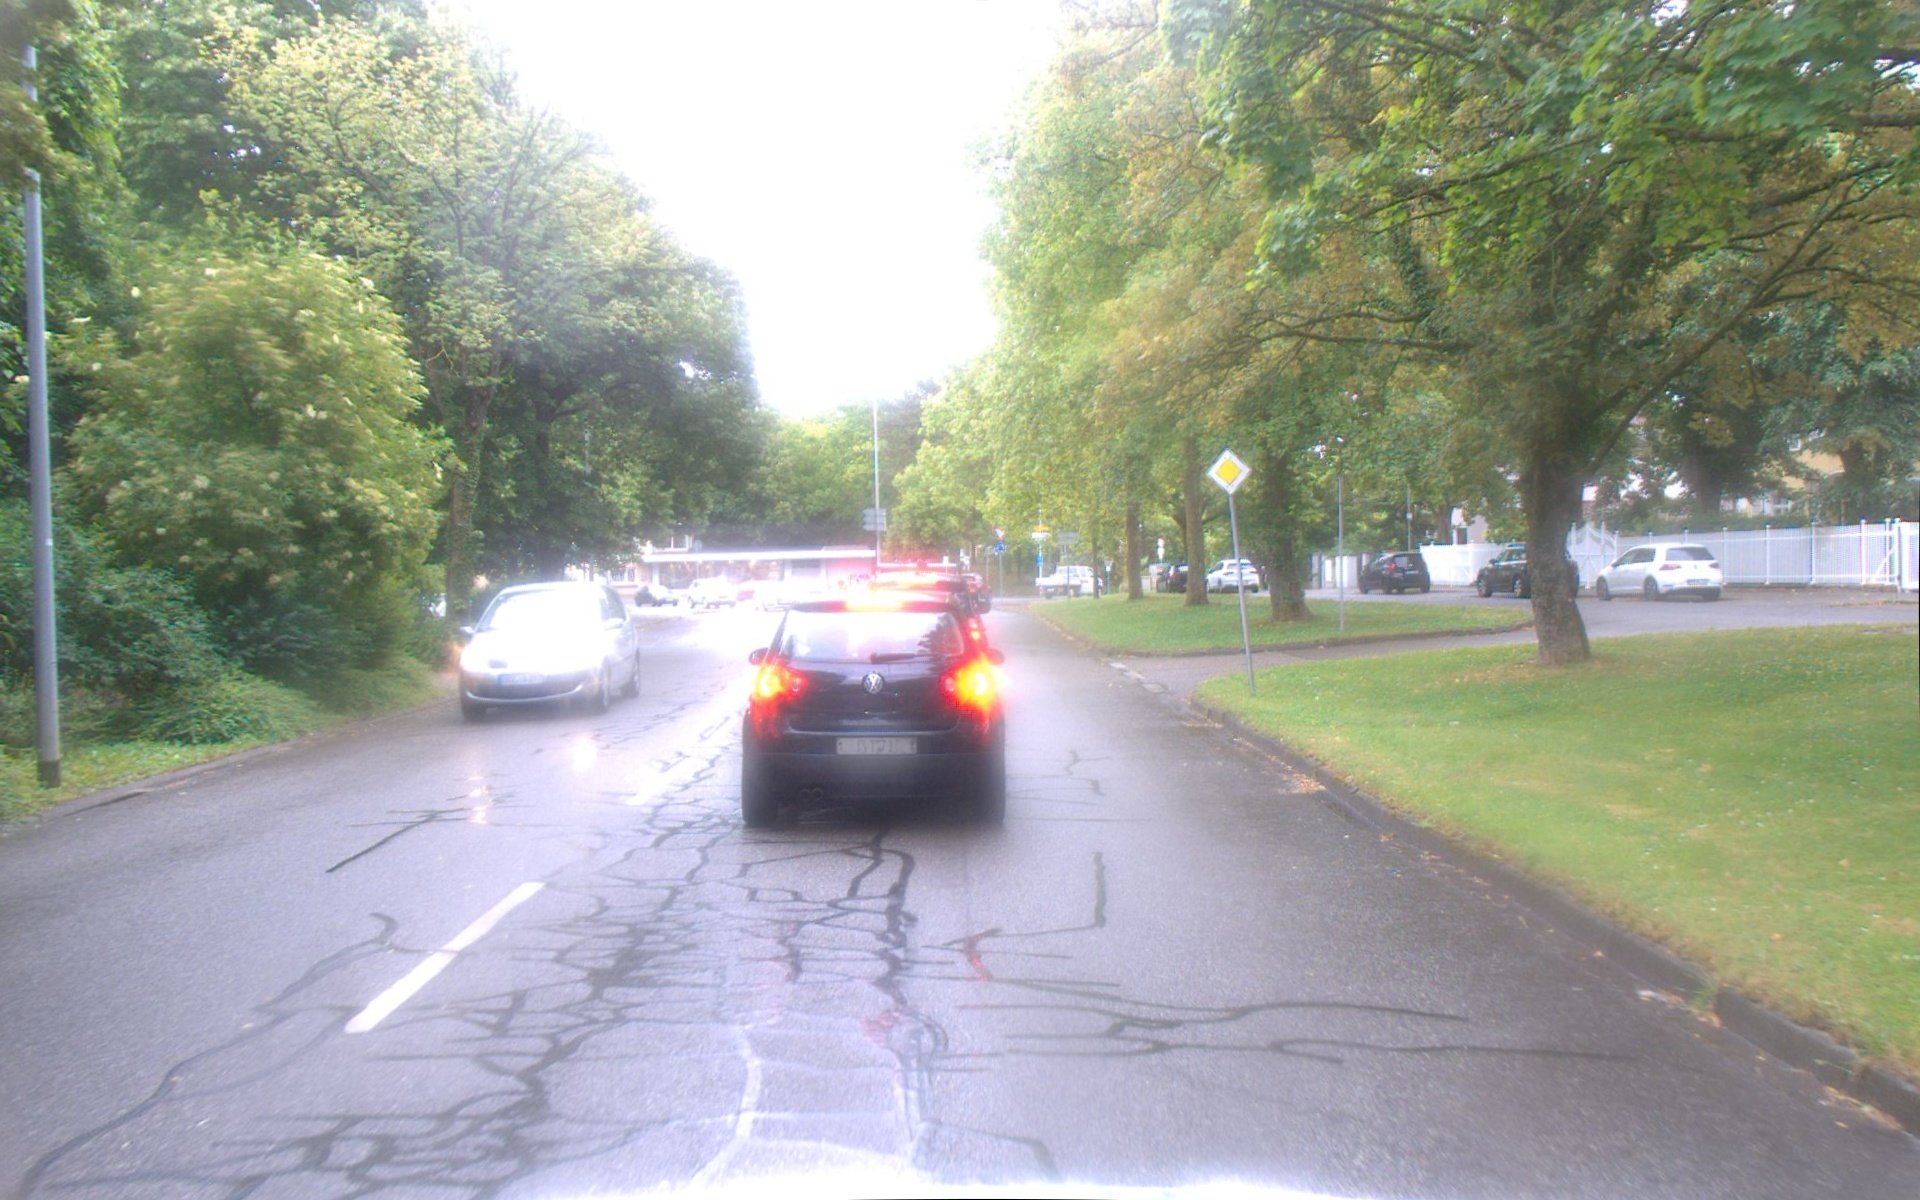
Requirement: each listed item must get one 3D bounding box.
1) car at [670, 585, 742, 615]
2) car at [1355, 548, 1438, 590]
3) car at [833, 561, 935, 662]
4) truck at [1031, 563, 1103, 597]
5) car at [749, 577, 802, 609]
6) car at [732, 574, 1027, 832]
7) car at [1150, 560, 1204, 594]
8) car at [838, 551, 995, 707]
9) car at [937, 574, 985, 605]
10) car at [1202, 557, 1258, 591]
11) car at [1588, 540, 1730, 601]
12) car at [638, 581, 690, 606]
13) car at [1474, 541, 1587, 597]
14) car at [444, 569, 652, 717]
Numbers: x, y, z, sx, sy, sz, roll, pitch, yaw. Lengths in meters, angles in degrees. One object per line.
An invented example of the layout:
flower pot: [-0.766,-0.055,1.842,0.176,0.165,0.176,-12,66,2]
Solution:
car: [-14.517,0.005,94.568,3.713,1.646,1.778,0,0,21]
car: [16.407,-1.187,62.352,1.766,1.436,4.110,-2,2,-4]
car: [-1.429,0.205,32.468,1.818,1.816,3.999,-1,0,-1]
truck: [6.711,-1.265,103.106,2.372,2.039,5.140,-1,0,31]
car: [-9.075,-0.355,81.216,1.586,1.452,3.982,-3,2,-22]
car: [-0.508,0.606,11.780,1.762,1.542,3.753,0,0,-1]
car: [9.791,-1.057,74.907,1.767,1.409,3.999,-3,1,-1]
car: [-0.545,0.323,21.632,1.818,1.816,3.999,-1,1,-1]
car: [0.077,-0.575,87.807,1.670,1.539,3.676,-2,1,15]
car: [12.230,-1.191,75.077,1.767,1.430,3.999,-3,1,-1]
car: [17.965,-0.788,42.703,1.585,1.434,4.005,-3,2,-6]
car: [-19.478,-0.429,108.816,1.784,1.417,3.927,-4,1,-36]
car: [17.307,-0.951,50.331,1.766,1.556,4.110,-2,2,-4]
car: [-5.166,0.477,21.287,1.728,1.642,4.139,-2,1,-2]
